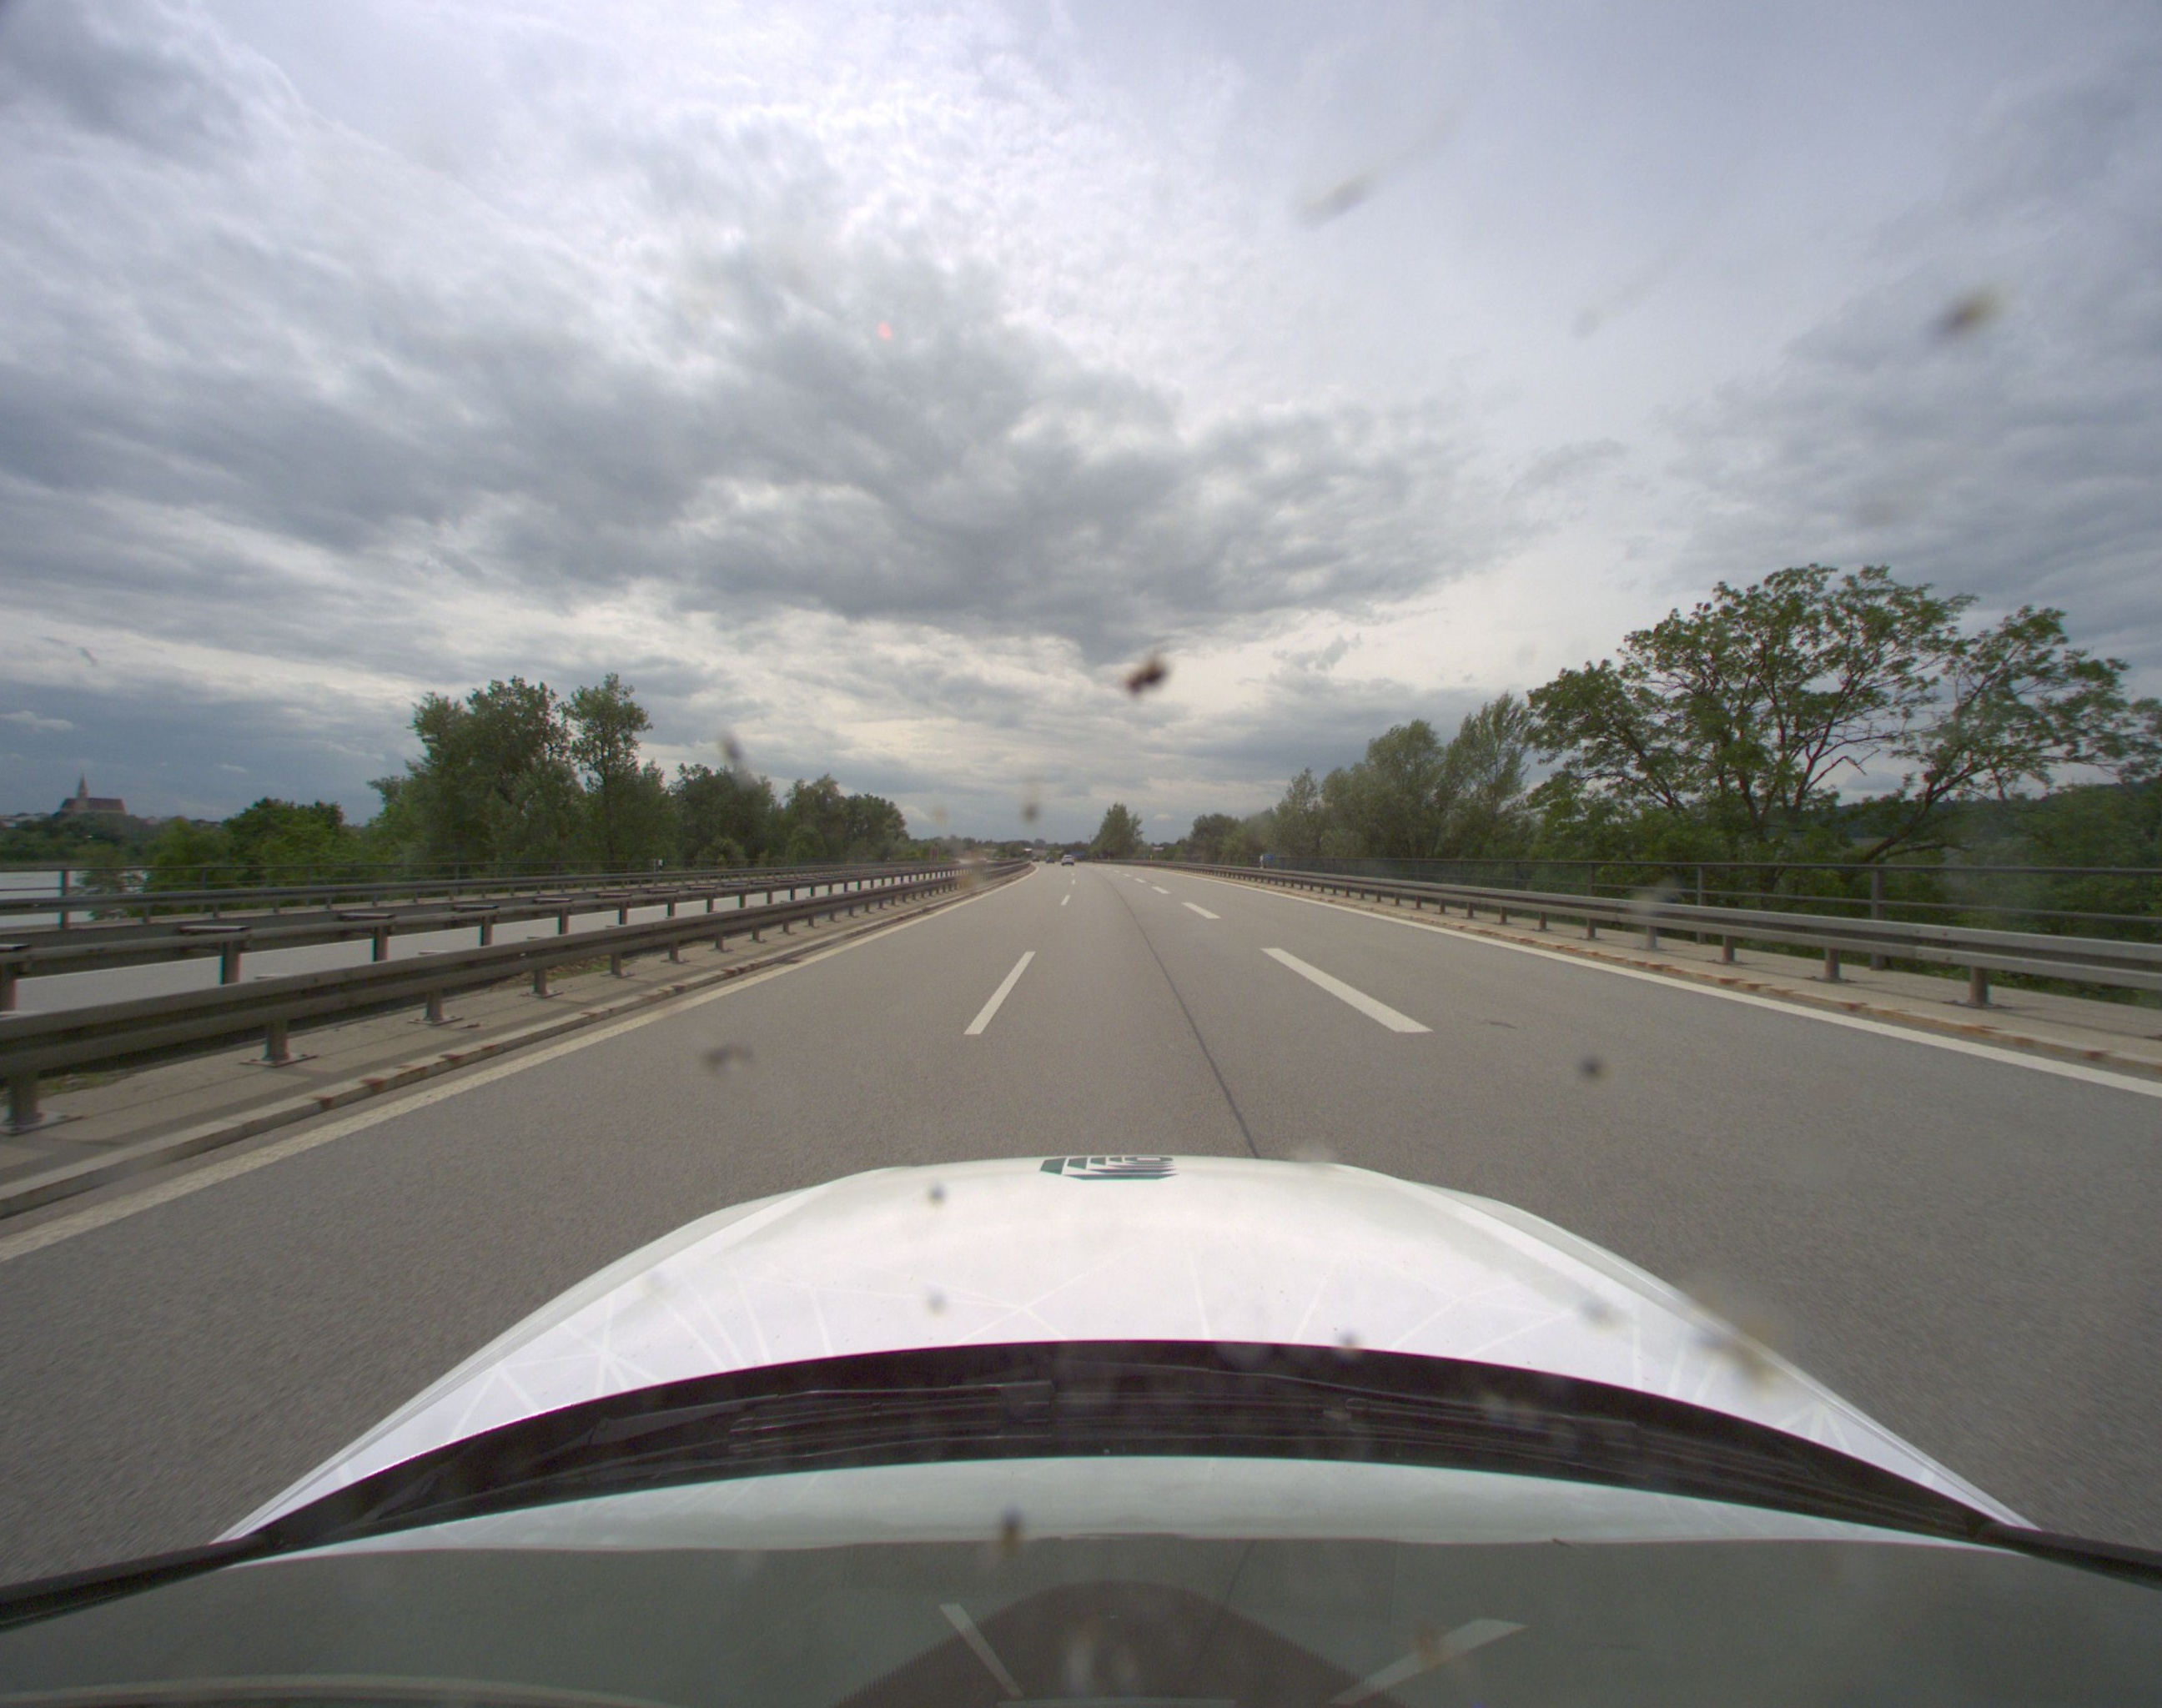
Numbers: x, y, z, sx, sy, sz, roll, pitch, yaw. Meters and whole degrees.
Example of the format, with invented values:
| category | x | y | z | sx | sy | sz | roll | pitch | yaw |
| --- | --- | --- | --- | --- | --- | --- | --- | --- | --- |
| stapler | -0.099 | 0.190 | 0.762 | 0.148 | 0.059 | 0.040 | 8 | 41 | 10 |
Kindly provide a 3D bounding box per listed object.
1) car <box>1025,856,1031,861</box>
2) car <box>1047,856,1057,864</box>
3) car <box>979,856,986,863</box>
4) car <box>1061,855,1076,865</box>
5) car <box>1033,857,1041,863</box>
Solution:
| category | x | y | z | sx | sy | sz | roll | pitch | yaw |
| --- | --- | --- | --- | --- | --- | --- | --- | --- | --- |
| car | -16.757 | 1.403 | 257.030 | 1.825 | 1.794 | 4.403 | 0 | 0 | -7 |
| car | -6.460 | 1.355 | 179.318 | 1.890 | 1.640 | 4.612 | 0 | 0 | -6 |
| car | -26.691 | 1.455 | 219.998 | 1.639 | 1.715 | 4.973 | 0 | 0 | -4 |
| car | -1.995 | 0.957 | 129.875 | 1.900 | 1.640 | 4.385 | 0 | 0 | -7 |
| car | -11.881 | 1.644 | 221.840 | 1.900 | 1.640 | 4.769 | 0 | 0 | -6 |
